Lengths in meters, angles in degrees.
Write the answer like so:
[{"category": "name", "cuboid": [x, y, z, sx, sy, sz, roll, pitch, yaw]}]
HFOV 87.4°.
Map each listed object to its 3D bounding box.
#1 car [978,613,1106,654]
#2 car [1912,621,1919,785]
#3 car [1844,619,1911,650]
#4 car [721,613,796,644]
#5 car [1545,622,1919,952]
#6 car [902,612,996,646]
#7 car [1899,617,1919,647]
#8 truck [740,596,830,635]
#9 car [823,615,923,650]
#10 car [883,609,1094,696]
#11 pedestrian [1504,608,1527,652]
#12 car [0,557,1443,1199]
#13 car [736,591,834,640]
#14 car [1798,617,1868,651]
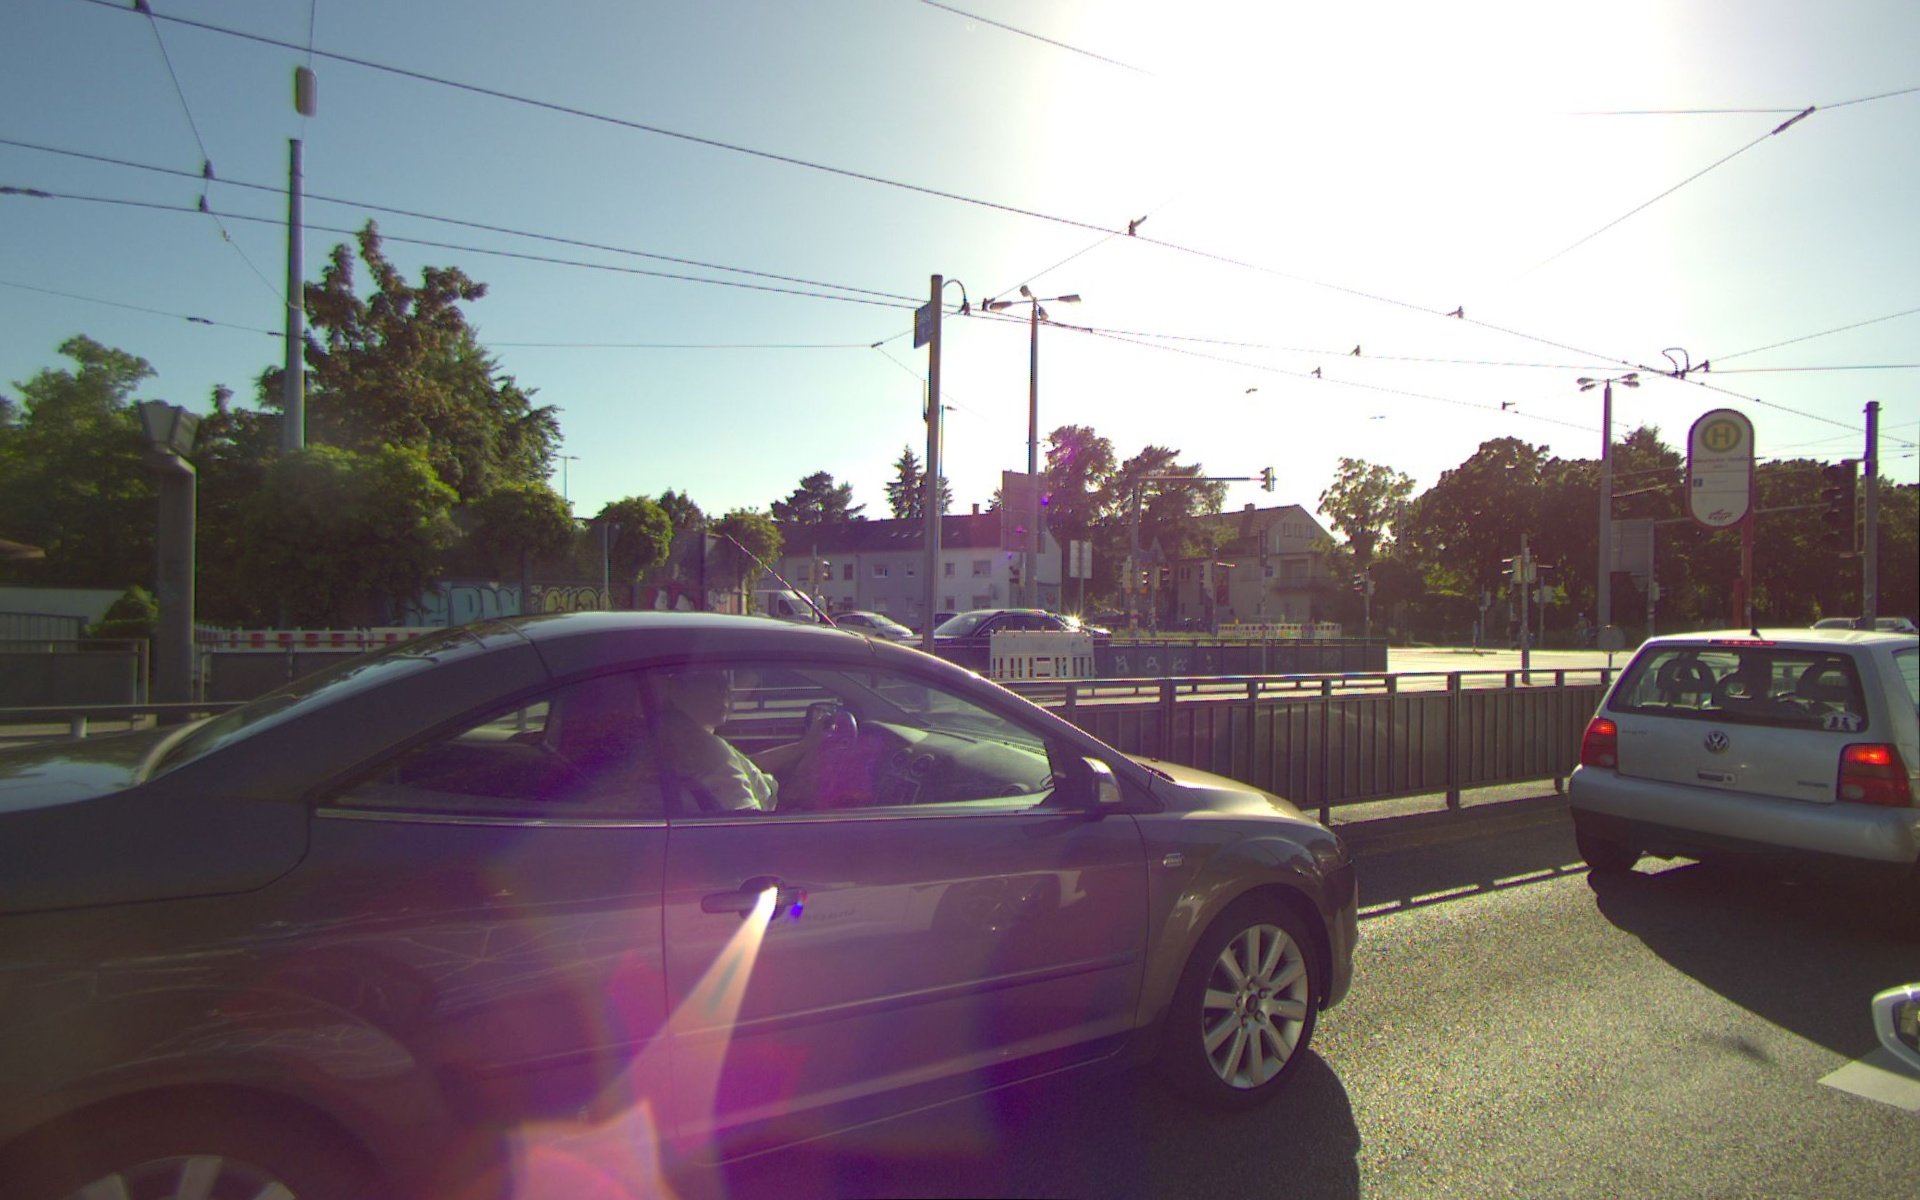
[{"category": "car", "cuboid": [3.172, 1.267, 39.209, 4.754, 1.517, 1.781, 0, -1, 34]}, {"category": "car", "cuboid": [10.772, 0.992, 9.448, 4.038, 1.476, 1.611, 2, 0, -31]}, {"category": "car", "cuboid": [47.313, 1.764, 51.788, 4.245, 1.568, 1.819, 1, -1, -37]}, {"category": "car", "cuboid": [-9.659, 1.332, 48.134, 3.552, 1.425, 1.481, 0, -1, 35]}, {"category": "car", "cuboid": [5.201, 0.879, 5.962, 3.312, 1.436, 1.611, 2, -2, -31]}, {"category": "car", "cuboid": [-0.527, 1.301, 45.810, 4.104, 1.451, 1.589, 0, -1, 34]}, {"category": "car", "cuboid": [54.271, 1.783, 56.055, 4.712, 1.626, 1.978, 1, 1, -38]}, {"category": "truck", "cuboid": [-12.069, 1.023, 68.895, 6.711, 2.599, 1.993, 0, -1, 36]}, {"category": "car", "cuboid": [-3.799, 1.390, 43.772, 4.104, 1.451, 1.846, 0, -1, 34]}, {"category": "car", "cuboid": [0.599, 0.977, 19.691, 3.939, 1.564, 1.579, 1, -1, -32]}, {"category": "pedestrian", "cuboid": [25.984, 1.387, 47.002, 0.785, 2.040, 0.741, 1, -1, -42]}, {"category": "car", "cuboid": [-0.691, 0.702, 2.956, 4.284, 1.469, 1.766, 1, -1, -31]}, {"category": "car", "cuboid": [-9.171, 0.811, 52.431, 4.995, 2.434, 2.132, 0, -1, 34]}, {"category": "car", "cuboid": [42.430, 1.640, 48.800, 3.963, 1.568, 1.819, 1, -1, -37]}]
